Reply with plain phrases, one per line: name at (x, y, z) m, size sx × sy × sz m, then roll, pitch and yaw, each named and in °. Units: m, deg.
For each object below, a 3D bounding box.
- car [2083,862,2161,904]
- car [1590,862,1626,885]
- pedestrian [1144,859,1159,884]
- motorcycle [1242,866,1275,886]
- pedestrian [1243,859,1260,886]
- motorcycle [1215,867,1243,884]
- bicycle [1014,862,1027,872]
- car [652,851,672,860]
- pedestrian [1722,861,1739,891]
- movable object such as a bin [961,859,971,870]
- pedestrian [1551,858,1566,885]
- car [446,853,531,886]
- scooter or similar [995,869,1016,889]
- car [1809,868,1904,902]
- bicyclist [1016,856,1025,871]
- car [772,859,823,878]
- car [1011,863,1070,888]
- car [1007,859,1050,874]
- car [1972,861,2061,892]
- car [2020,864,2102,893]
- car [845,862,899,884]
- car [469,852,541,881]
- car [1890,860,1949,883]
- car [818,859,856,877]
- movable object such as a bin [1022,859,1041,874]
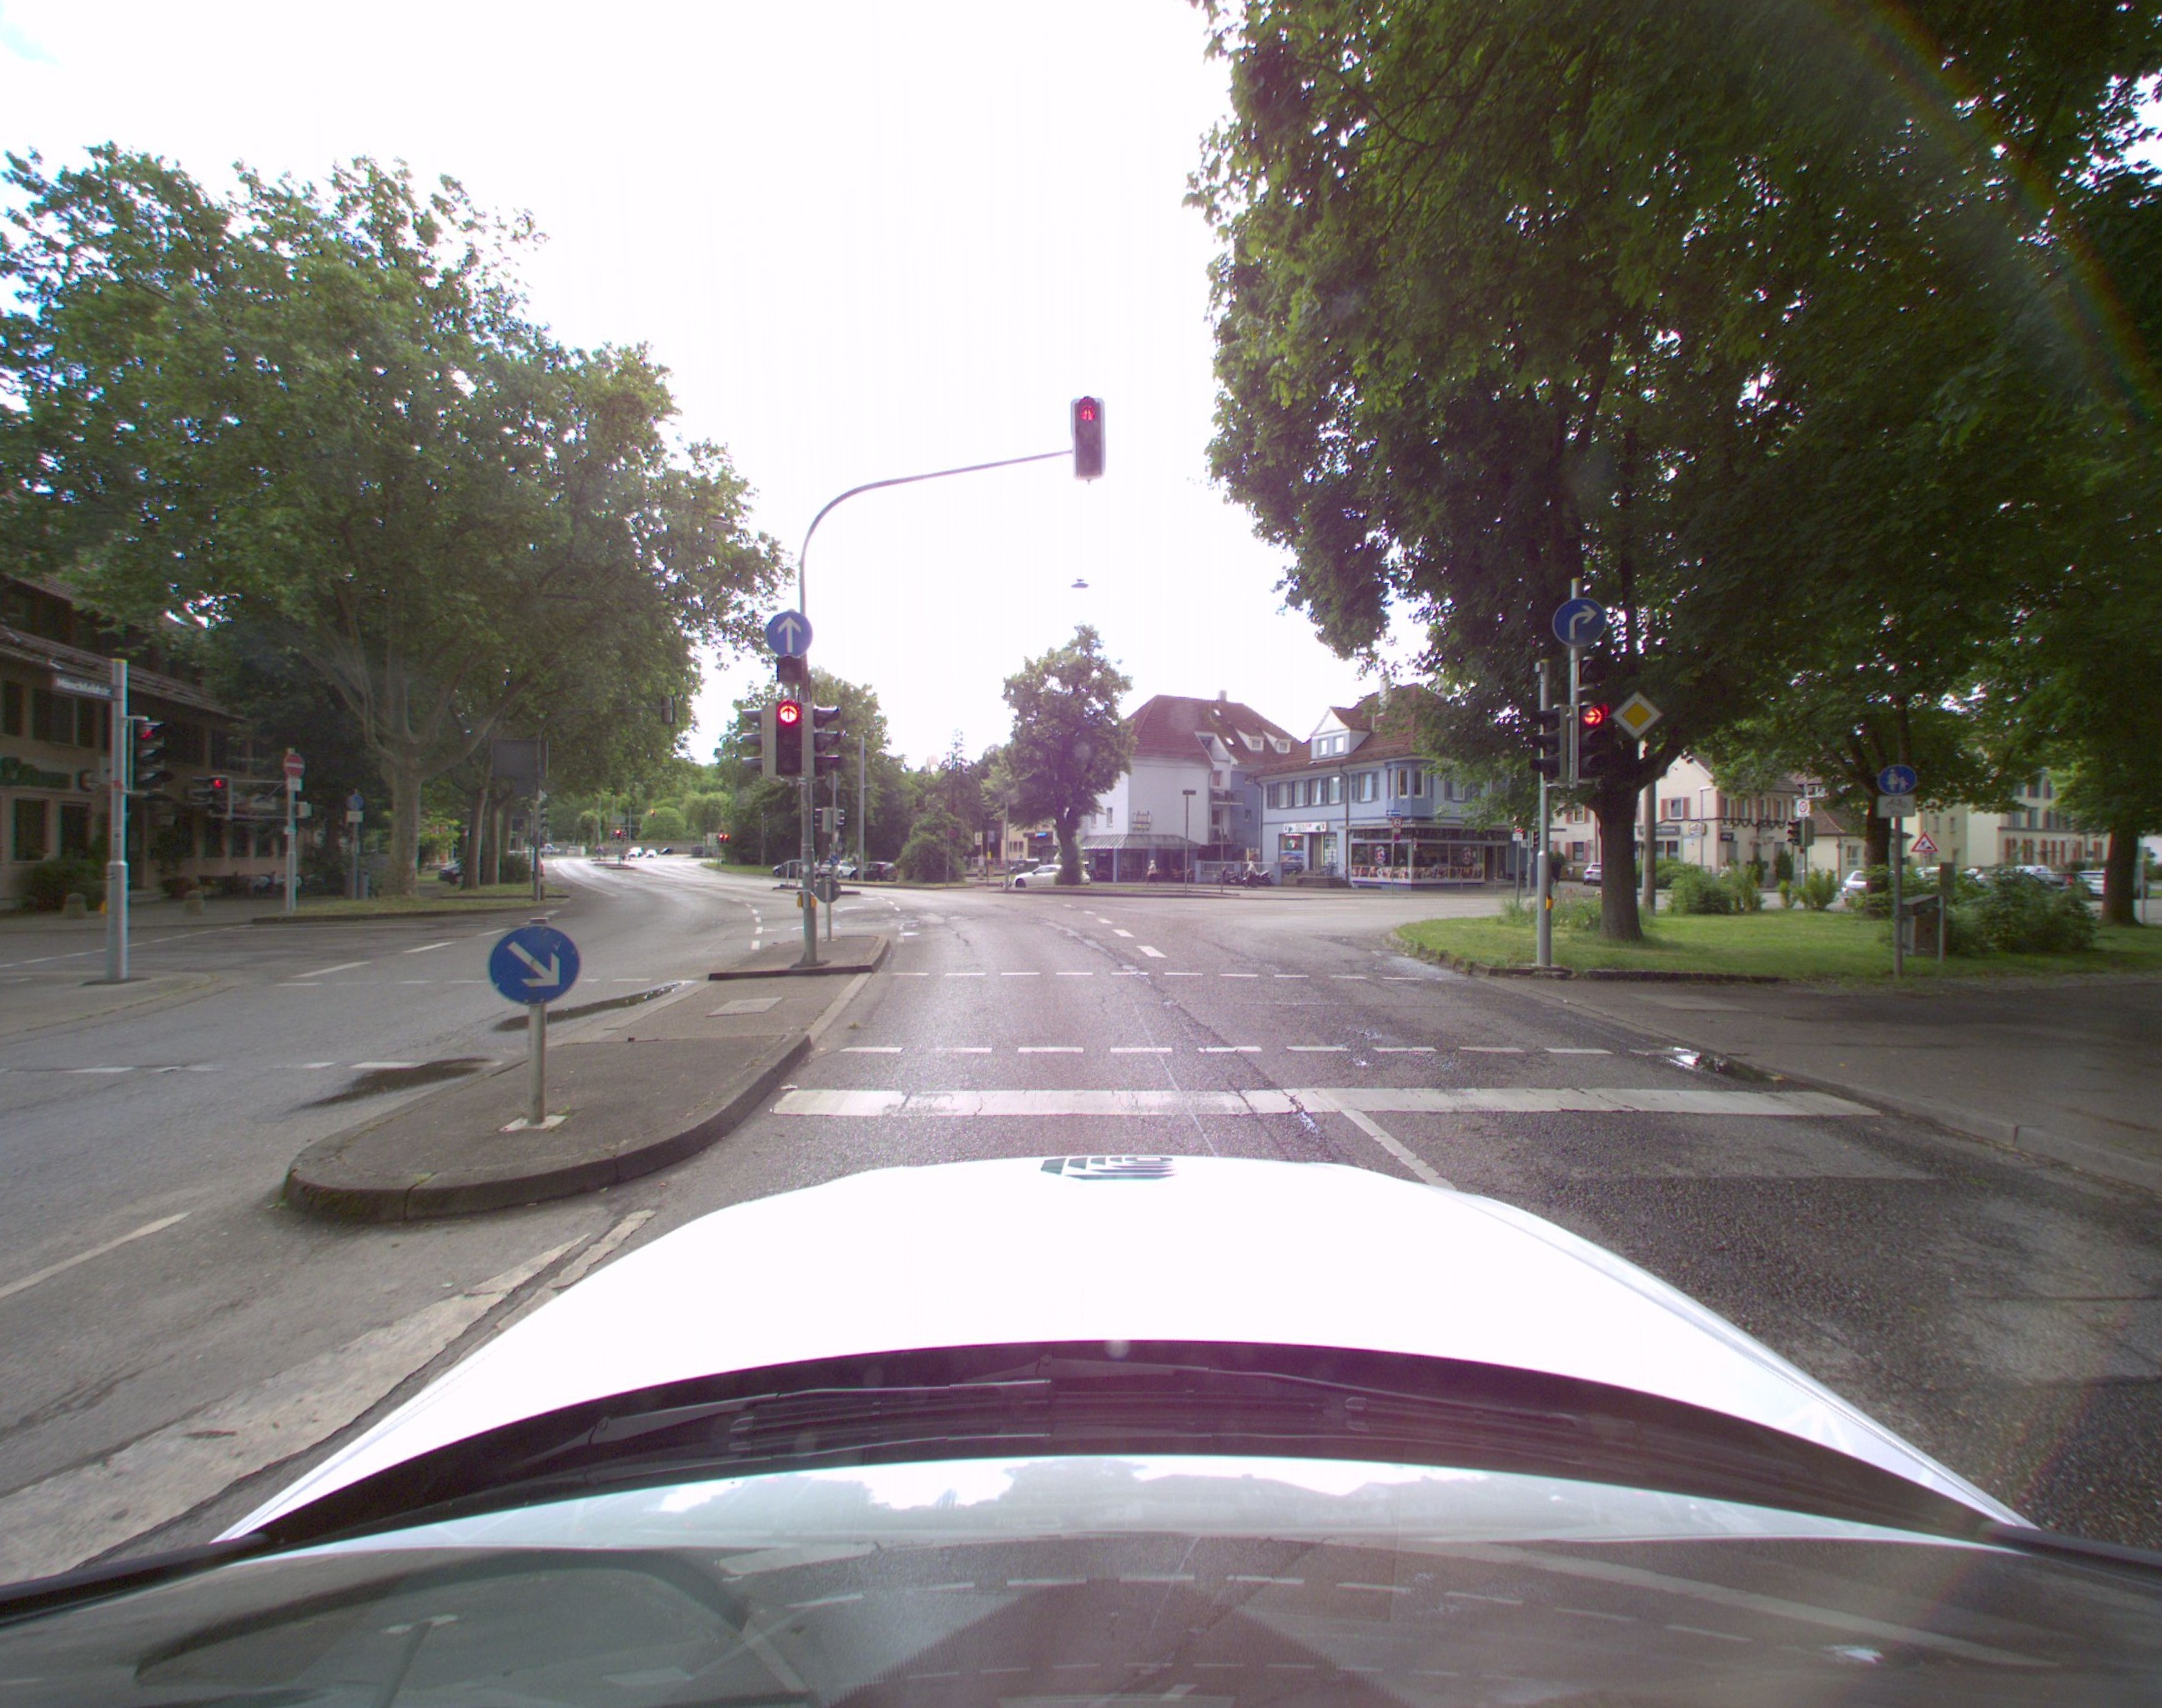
car at (52.829, 1.437, 41.123) m, size 4.004 × 2.014 × 1.770 m, roll 0°, pitch -1°, yaw -23°
car at (32.600, 1.185, 50.338) m, size 1.481 × 1.369 × 3.198 m, roll -1°, pitch -1°, yaw 40°
pedestrian at (4.472, 1.119, 51.633) m, size 0.699 × 1.545 × 0.682 m, roll -1°, pitch -1°, yaw 42°
motorcycle at (10.533, 1.287, 48.260) m, size 1.777 × 1.121 × 0.699 m, roll 0°, pitch -1°, yaw 40°
pedestrian at (9.887, 1.082, 47.219) m, size 0.759 × 1.545 × 0.682 m, roll -1°, pitch -1°, yaw 41°
motorcycle at (9.111, 1.313, 50.074) m, size 0.699 × 1.064 × 1.617 m, roll 0°, pitch -1°, yaw -44°
bicycle at (-6.245, 1.344, 84.343) m, size 0.596 × 1.112 × 1.590 m, roll 0°, pitch 0°, yaw 26°
car at (-95.506, 0.427, 185.595) m, size 4.011 × 2.014 × 1.981 m, roll 0°, pitch -1°, yaw -29°
pedestrian at (36.542, 1.246, 45.815) m, size 0.612 × 1.649 × 0.605 m, roll 0°, pitch -1°, yaw -38°
movable object such as a bin at (-12.225, 1.118, 86.635) m, size 0.953 × 1.115 × 0.381 m, roll 0°, pitch -1°, yaw -19°
pedestrian at (27.290, 0.974, 46.537) m, size 0.459 × 1.517 × 0.584 m, roll 0°, pitch -1°, yaw -19°
car at (-31.004, 0.782, 42.712) m, size 3.461 × 1.641 × 1.557 m, roll 0°, pitch -1°, yaw -31°
scooter or similar at (-3.980, 1.289, 42.877) m, size 0.413 × 1.011 × 1.575 m, roll -1°, pitch -1°, yaw 22°
car at (31.961, 1.253, 33.565) m, size 3.511 × 1.321 × 1.549 m, roll 0°, pitch 0°, yaw -22°
bicyclist at (-6.261, 0.974, 84.293) m, size 0.592 × 1.541 × 0.744 m, roll 0°, pitch -1°, yaw 26°
car at (-22.441, 1.112, 64.480) m, size 3.520 × 1.464 × 1.591 m, roll 0°, pitch 0°, yaw 14°
car at (-2.310, 1.201, 46.235) m, size 3.134 × 1.354 × 1.448 m, roll 0°, pitch -1°, yaw 36°
car at (-4.885, 1.133, 76.152) m, size 3.752 × 1.345 × 1.422 m, roll 0°, pitch 0°, yaw -25°
car at (42.214, 0.978, 36.749) m, size 3.510 × 1.321 × 1.549 m, roll 0°, pitch 0°, yaw -21°
car at (47.001, 1.169, 39.057) m, size 3.511 × 1.321 × 1.549 m, roll 0°, pitch 0°, yaw -22°
car at (-13.909, 1.265, 54.201) m, size 3.549 × 1.394 × 1.481 m, roll 0°, pitch -1°, yaw 34°
car at (-35.487, 0.754, 50.278) m, size 3.461 × 1.742 × 1.557 m, roll 0°, pitch -1°, yaw -31°
car at (55.113, 1.129, 53.528) m, size 4.007 × 1.420 × 1.544 m, roll 0°, pitch 0°, yaw -26°
car at (-20.083, 1.129, 67.182) m, size 1.534 × 1.464 × 3.407 m, roll 0°, pitch 0°, yaw 13°
movable object such as a bin at (-4.527, 1.132, 74.244) m, size 1.447 × 1.409 × 0.959 m, roll 0°, pitch -1°, yaw -25°
